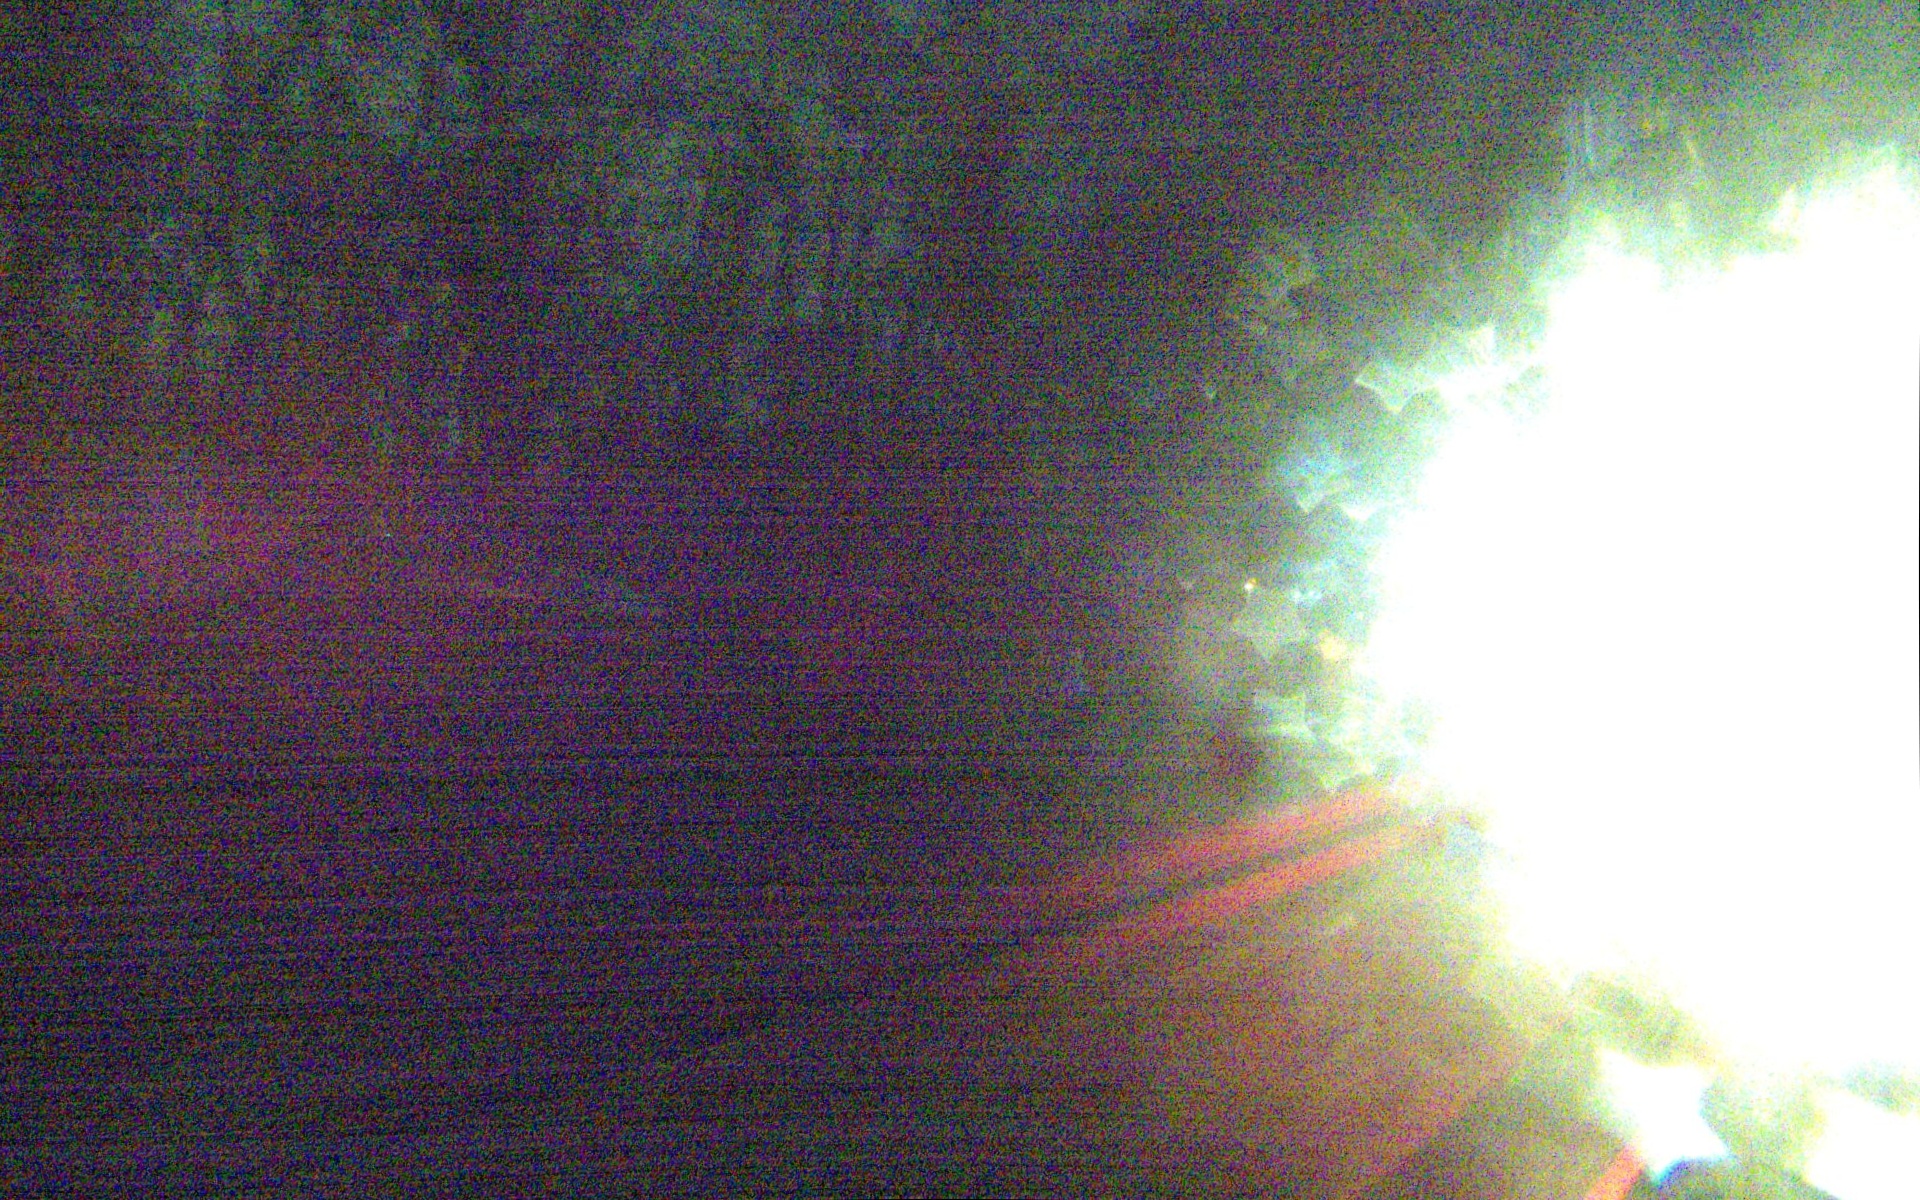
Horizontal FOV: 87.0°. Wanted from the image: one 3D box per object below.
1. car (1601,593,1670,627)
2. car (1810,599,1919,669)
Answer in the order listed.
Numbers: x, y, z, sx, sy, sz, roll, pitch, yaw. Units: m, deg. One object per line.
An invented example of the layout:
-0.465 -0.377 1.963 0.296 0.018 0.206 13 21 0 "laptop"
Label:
31.711 0.497 47.607 1.828 1.468 3.847 -2 -2 21 "car"
21.687 0.744 23.845 1.835 1.467 3.958 1 1 30 "car"
